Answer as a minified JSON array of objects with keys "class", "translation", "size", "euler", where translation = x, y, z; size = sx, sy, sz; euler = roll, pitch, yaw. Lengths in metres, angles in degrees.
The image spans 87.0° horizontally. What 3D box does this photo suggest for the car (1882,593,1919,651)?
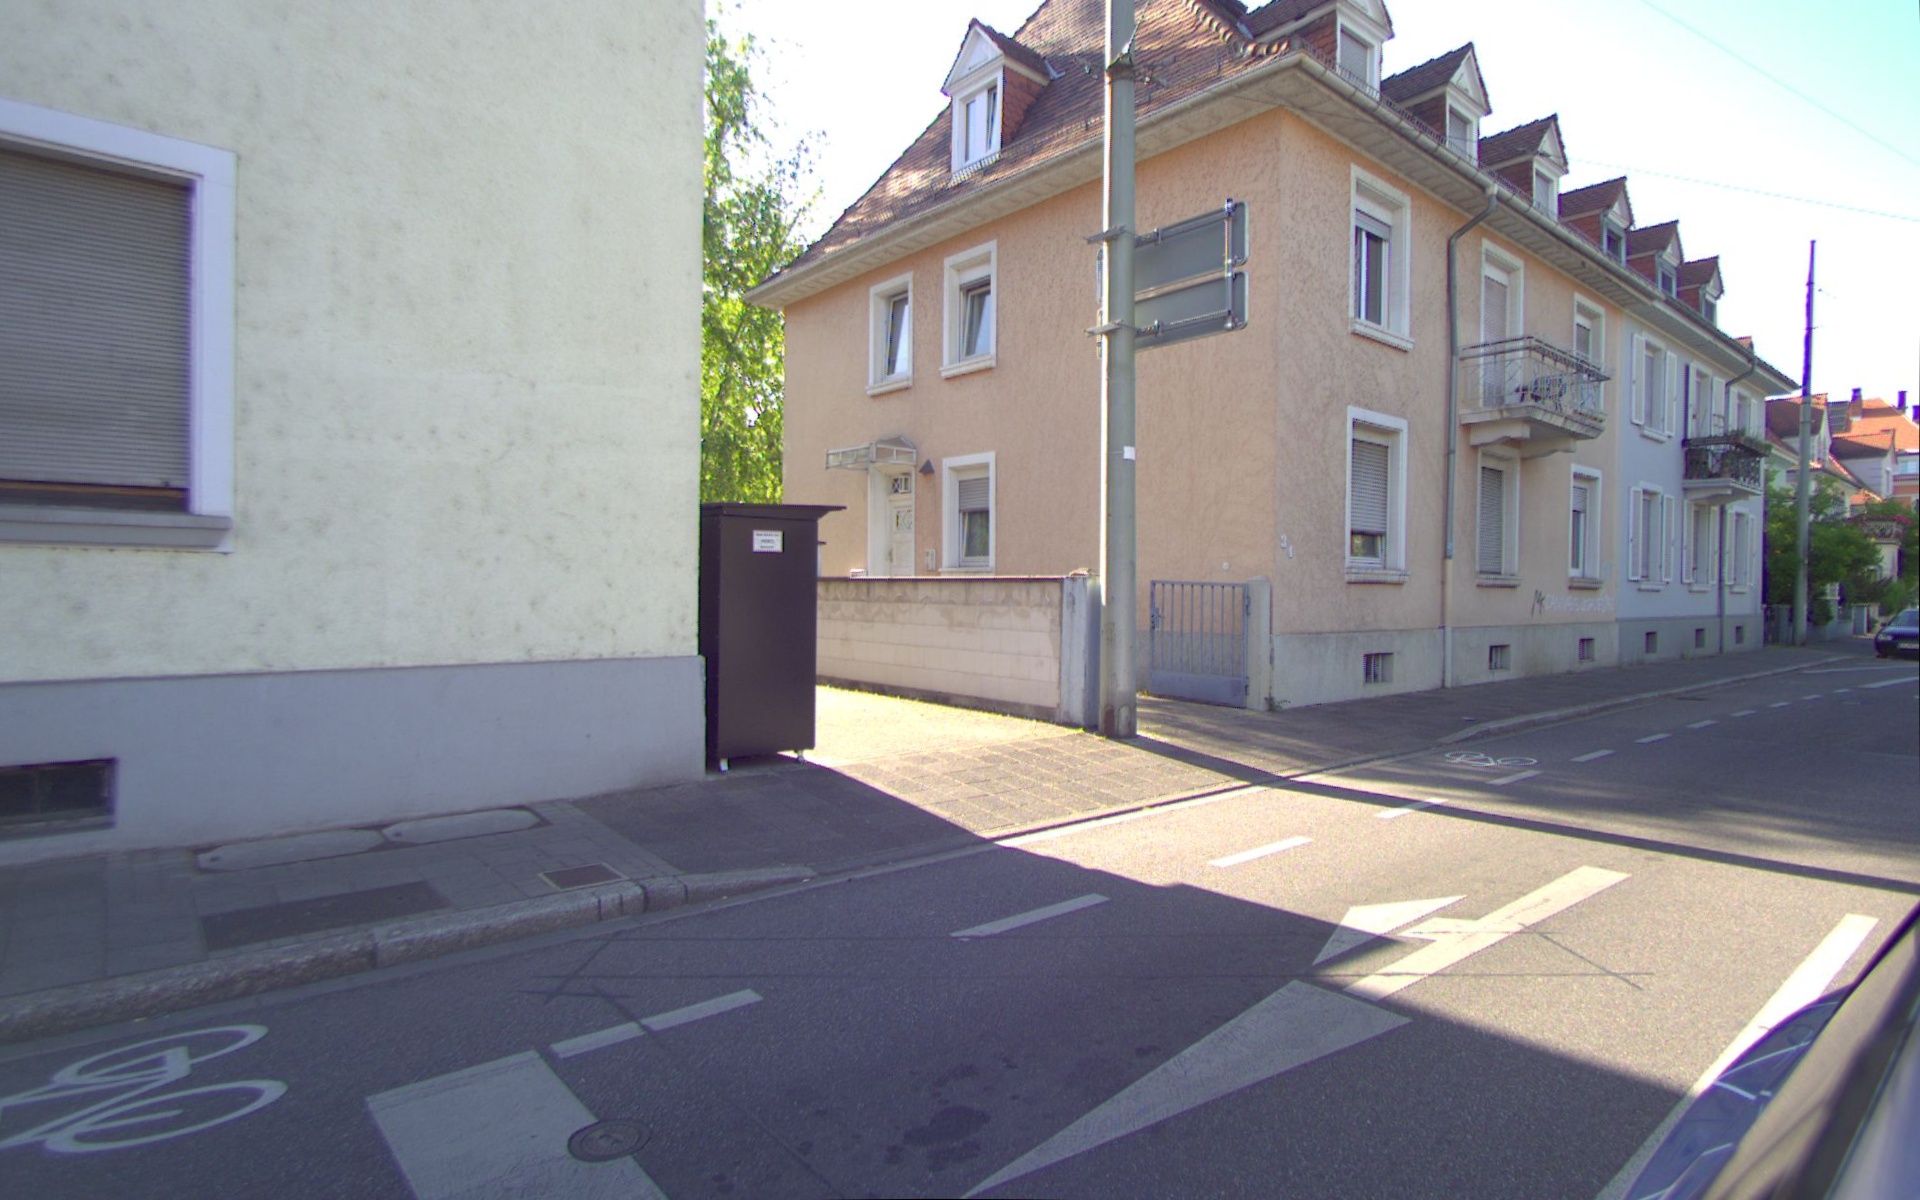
[{"class":"car","translation":[26.765,0.579,27.459],"size":[3.925,1.504,1.883],"euler":[0,1,-37]}]
